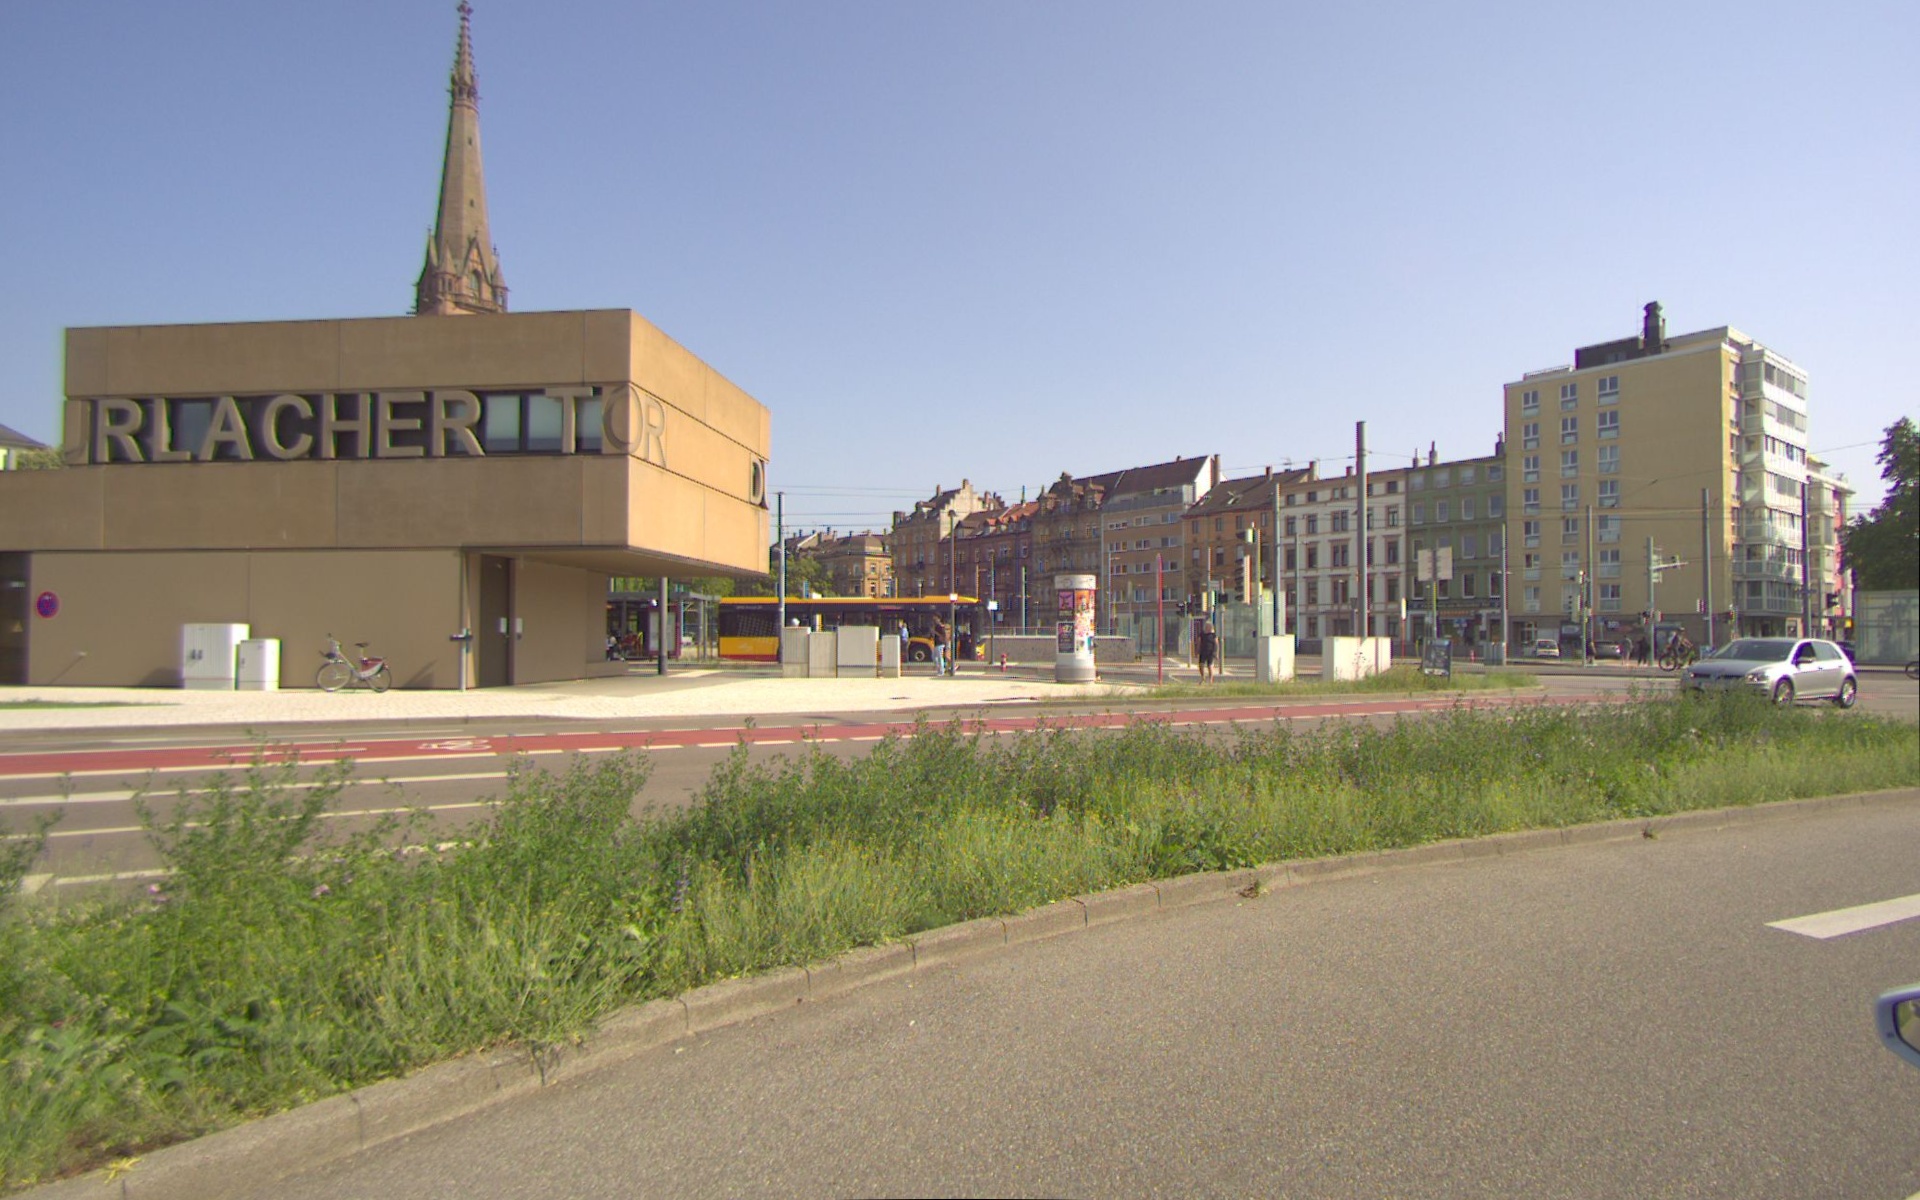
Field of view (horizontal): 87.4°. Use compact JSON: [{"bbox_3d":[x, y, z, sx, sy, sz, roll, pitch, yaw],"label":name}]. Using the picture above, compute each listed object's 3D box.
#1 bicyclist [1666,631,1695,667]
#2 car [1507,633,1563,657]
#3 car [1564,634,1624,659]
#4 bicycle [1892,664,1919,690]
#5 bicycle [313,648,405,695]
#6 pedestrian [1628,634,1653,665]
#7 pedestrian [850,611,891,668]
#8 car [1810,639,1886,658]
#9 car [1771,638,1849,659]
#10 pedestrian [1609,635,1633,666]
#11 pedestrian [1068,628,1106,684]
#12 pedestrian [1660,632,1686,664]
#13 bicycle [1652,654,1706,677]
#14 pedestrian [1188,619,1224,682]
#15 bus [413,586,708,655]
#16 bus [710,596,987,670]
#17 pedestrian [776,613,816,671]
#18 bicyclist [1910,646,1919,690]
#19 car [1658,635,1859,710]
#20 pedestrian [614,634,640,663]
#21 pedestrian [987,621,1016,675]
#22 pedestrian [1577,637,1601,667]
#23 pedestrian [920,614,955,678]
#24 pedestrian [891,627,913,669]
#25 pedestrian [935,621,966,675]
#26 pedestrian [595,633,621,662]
[{"bbox_3d":[31.847,2.159,44.398,0.718,1.547,0.790,1,-2,-32],"label":"bicyclist"},{"bbox_3d":[43.516,3.404,76.156,1.960,1.700,4.553,1,-2,4],"label":"car"},{"bbox_3d":[45.526,3.319,72.214,1.959,1.700,4.554,0,-2,8],"label":"car"},{"bbox_3d":[37.048,2.970,38.496,0.718,0.944,1.803,1,-2,-31],"label":"bicycle"},{"bbox_3d":[-11.817,1.396,19.768,1.516,0.849,0.593,0,1,8],"label":"bicycle"},{"bbox_3d":[37.984,2.750,56.058,0.914,1.712,0.915,2,-2,-38],"label":"pedestrian"},{"bbox_3d":[-2.738,1.205,30.693,0.857,1.727,0.981,2,-2,-33],"label":"pedestrian"},{"bbox_3d":[66.941,3.632,75.745,1.565,1.372,4.123,2,-2,-39],"label":"car"},{"bbox_3d":[61.624,3.498,72.865,1.469,1.372,4.123,2,-2,-39],"label":"car"},{"bbox_3d":[37.571,2.852,57.087,0.914,1.712,0.915,2,-2,-38],"label":"pedestrian"},{"bbox_3d":[3.663,1.607,28.924,0.970,1.579,0.866,0,-2,14],"label":"pedestrian"},{"bbox_3d":[38.692,2.621,54.517,0.914,1.712,0.915,2,-2,-38],"label":"pedestrian"},{"bbox_3d":[31.798,2.876,44.453,0.718,0.944,1.803,1,-2,-31],"label":"bicycle"},{"bbox_3d":[7.194,1.465,29.431,0.692,1.824,0.774,1,-2,-28],"label":"pedestrian"},{"bbox_3d":[-18.301,0.959,46.356,12.537,3.017,3.302,0,-2,7],"label":"bus"},{"bbox_3d":[-4.894,1.442,44.938,11.966,3.149,2.719,0,-2,7],"label":"bus"},{"bbox_3d":[-4.916,1.266,30.129,0.857,1.694,0.981,2,-2,-33],"label":"pedestrian"},{"bbox_3d":[37.085,2.588,38.452,0.718,1.674,0.877,1,-2,-32],"label":"bicyclist"},{"bbox_3d":[16.982,1.496,21.350,4.171,1.452,1.807,2,-2,-27],"label":"car"},{"bbox_3d":[-13.720,1.987,41.431,0.723,1.148,1.031,0,-2,-1],"label":"pedestrian"},{"bbox_3d":[1.420,1.640,34.544,0.692,1.824,0.774,1,-2,-28],"label":"pedestrian"},{"bbox_3d":[36.080,2.969,57.589,0.914,1.712,0.915,2,-2,-38],"label":"pedestrian"},{"bbox_3d":[-0.648,1.328,28.877,0.851,1.793,0.988,1,-2,-12],"label":"pedestrian"},{"bbox_3d":[-2.442,2.006,42.302,0.819,1.761,0.831,0,-2,4],"label":"pedestrian"},{"bbox_3d":[-0.296,1.443,30.362,0.850,1.583,0.989,1,-2,-7],"label":"pedestrian"},{"bbox_3d":[-14.559,1.964,41.581,0.723,1.148,1.031,0,-2,-1],"label":"pedestrian"}]
